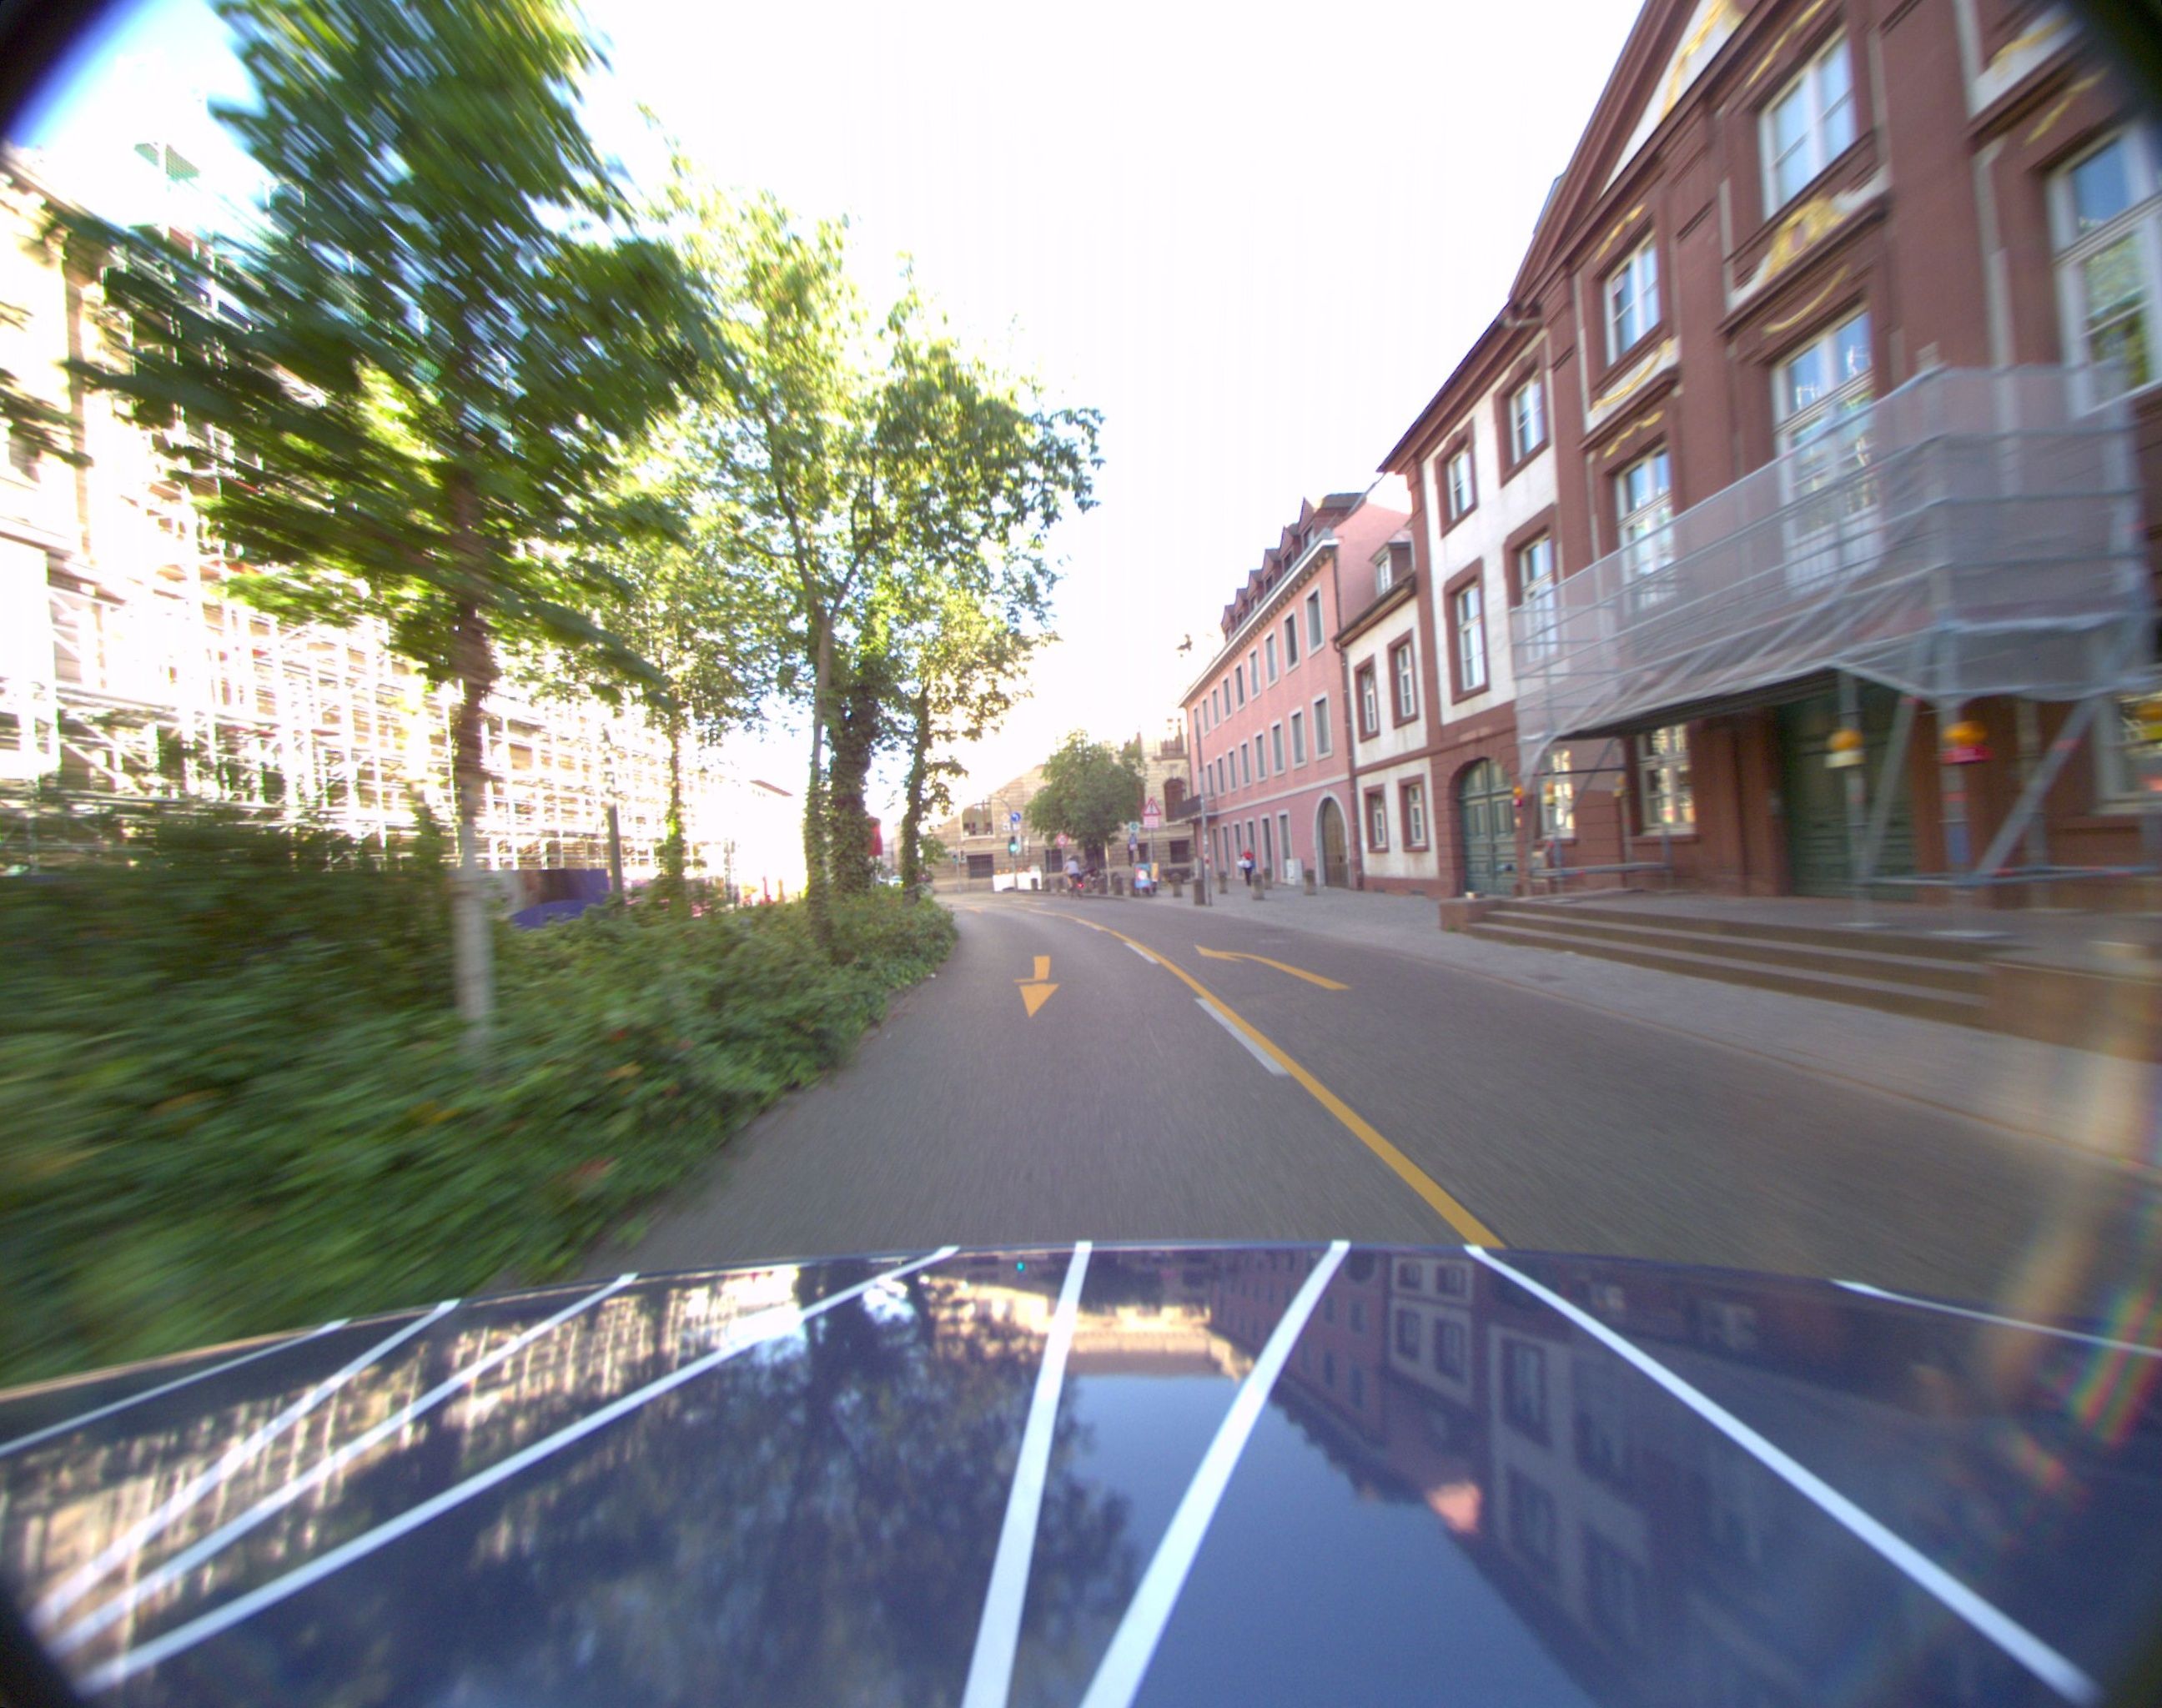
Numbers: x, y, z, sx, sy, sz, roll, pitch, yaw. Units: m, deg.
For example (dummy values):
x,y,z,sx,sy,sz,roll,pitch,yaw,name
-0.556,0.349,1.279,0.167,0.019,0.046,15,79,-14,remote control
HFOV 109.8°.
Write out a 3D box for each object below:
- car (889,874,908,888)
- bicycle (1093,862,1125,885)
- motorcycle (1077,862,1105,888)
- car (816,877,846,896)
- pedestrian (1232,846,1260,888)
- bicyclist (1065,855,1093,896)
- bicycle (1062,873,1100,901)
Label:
x,y,z,sx,sy,sz,roll,pitch,yaw,name
-22.248,3.253,92.891,1.855,1.483,4.251,-5,0,-10,car
1.612,1.104,43.366,0.681,1.199,2.009,-2,0,41,bicycle
0.524,1.136,41.225,0.815,1.309,2.334,-4,-1,-16,motorcycle
-24.545,3.178,74.829,1.900,1.614,4.618,-5,0,-8,car
6.980,0.557,32.189,0.793,1.679,0.868,-5,0,-3,pedestrian
-0.087,0.880,31.226,0.747,1.574,0.793,-5,0,-23,bicyclist
-0.021,1.341,31.207,0.774,1.056,2.074,-4,0,-23,bicycle
